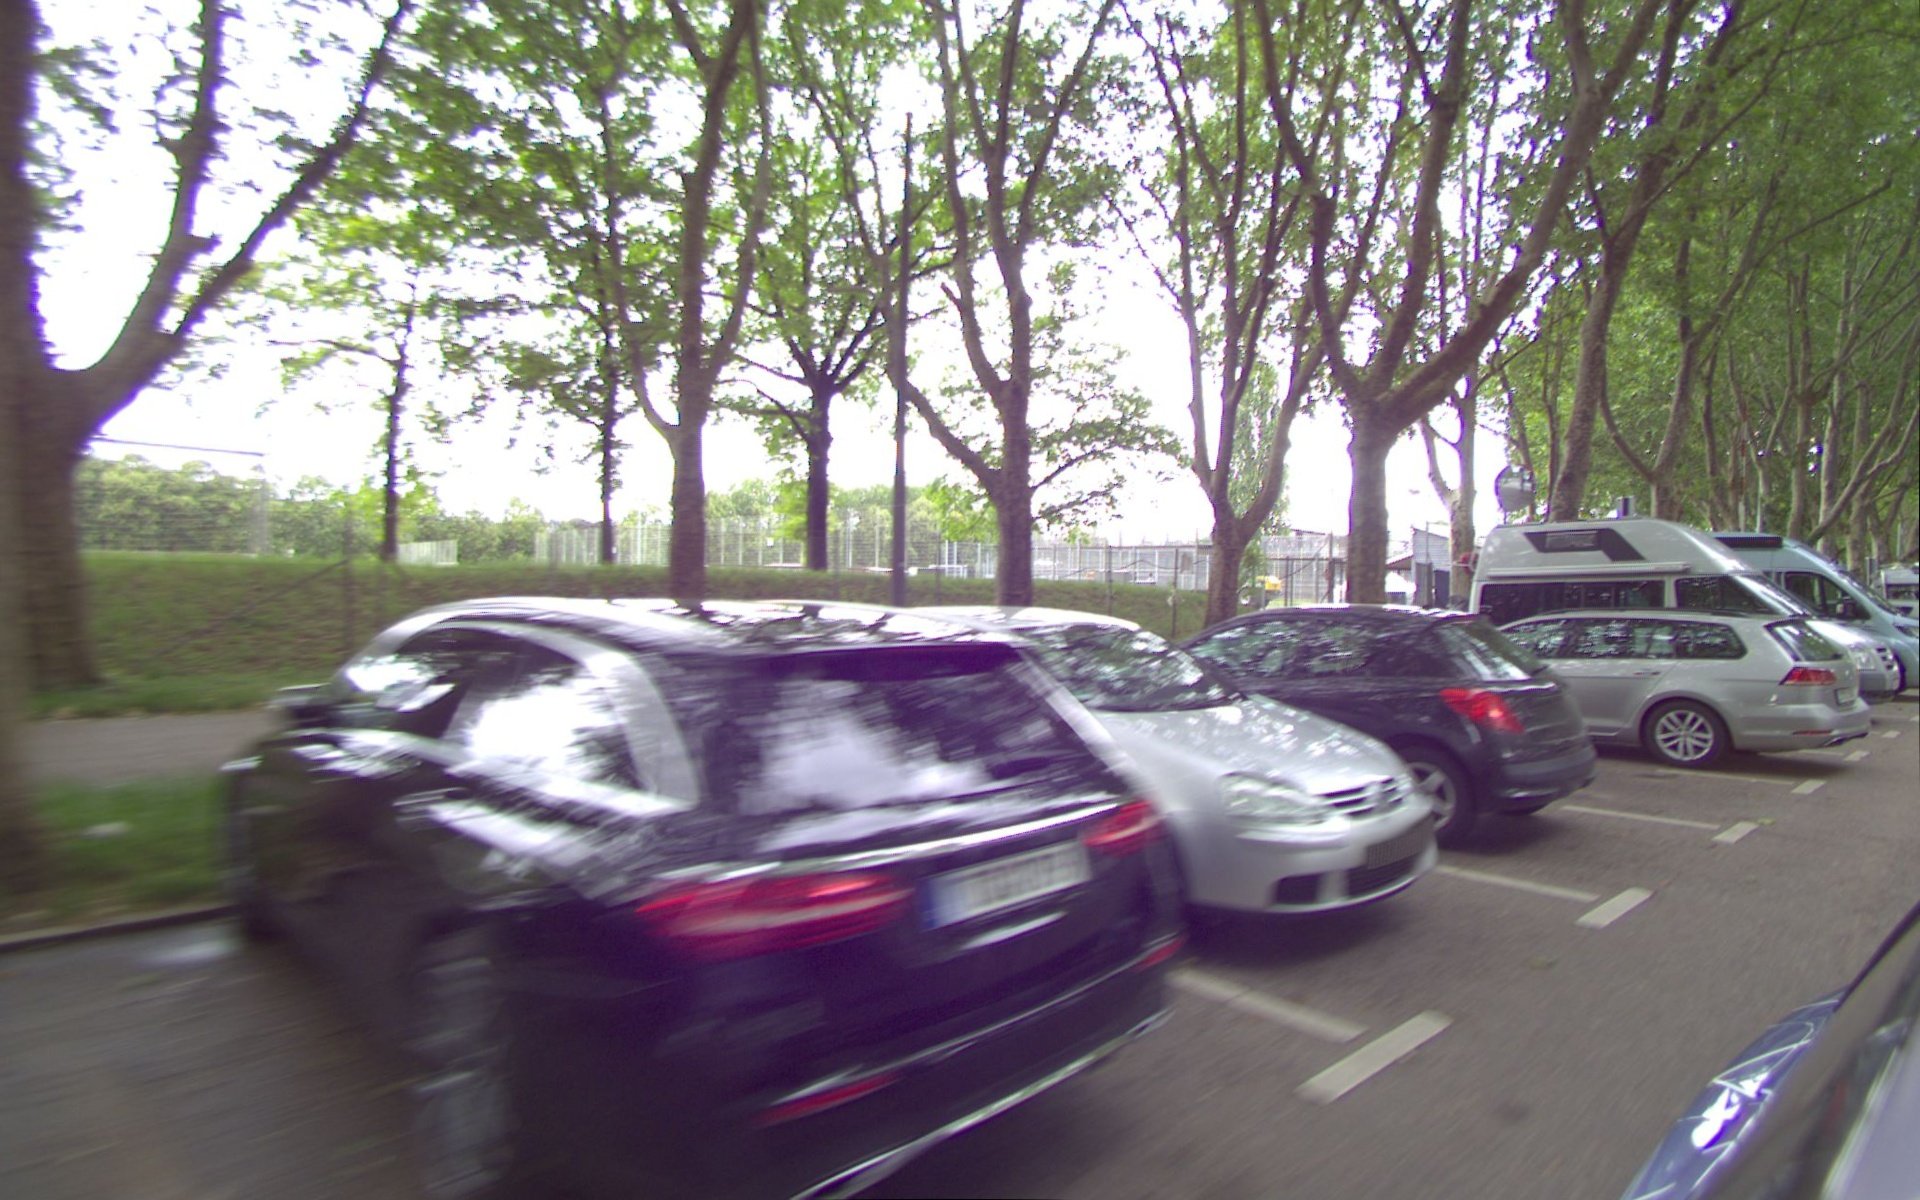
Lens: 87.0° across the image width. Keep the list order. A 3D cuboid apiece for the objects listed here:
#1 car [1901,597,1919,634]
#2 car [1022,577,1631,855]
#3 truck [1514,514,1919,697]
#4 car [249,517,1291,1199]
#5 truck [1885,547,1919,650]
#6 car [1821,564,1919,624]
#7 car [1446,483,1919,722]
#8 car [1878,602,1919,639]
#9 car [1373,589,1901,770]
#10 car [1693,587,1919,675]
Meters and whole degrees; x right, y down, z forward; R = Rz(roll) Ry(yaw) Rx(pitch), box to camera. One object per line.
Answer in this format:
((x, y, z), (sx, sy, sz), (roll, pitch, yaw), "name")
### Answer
((40.211, 0.619, 39.909), (4.346, 1.464, 1.592), (0, 0, 36), "car")
((2.532, 0.633, 7.747), (1.784, 1.545, 4.049), (0, 0, -42), "car")
((13.521, 0.061, 17.850), (2.060, 2.749, 6.308), (0, 0, -39), "truck")
((-1.268, 0.643, 3.709), (1.674, 1.545, 4.508), (0, 0, -42), "car")
((30.815, -0.041, 31.696), (2.455, 2.975, 7.427), (0, 0, 40), "truck")
((44.411, -0.286, 46.877), (6.875, 2.729, 2.095), (0, 0, 42), "car")
((9.885, 0.035, 14.173), (1.922, 2.723, 5.239), (0, 0, -39), "car")
((36.212, 0.767, 36.565), (1.669, 1.318, 4.329), (0, 0, -40), "car")
((6.590, 0.688, 10.289), (1.672, 1.447, 4.128), (0, -1, -38), "car")
((17.634, 0.588, 20.350), (1.770, 1.638, 4.351), (0, -1, -37), "car")
